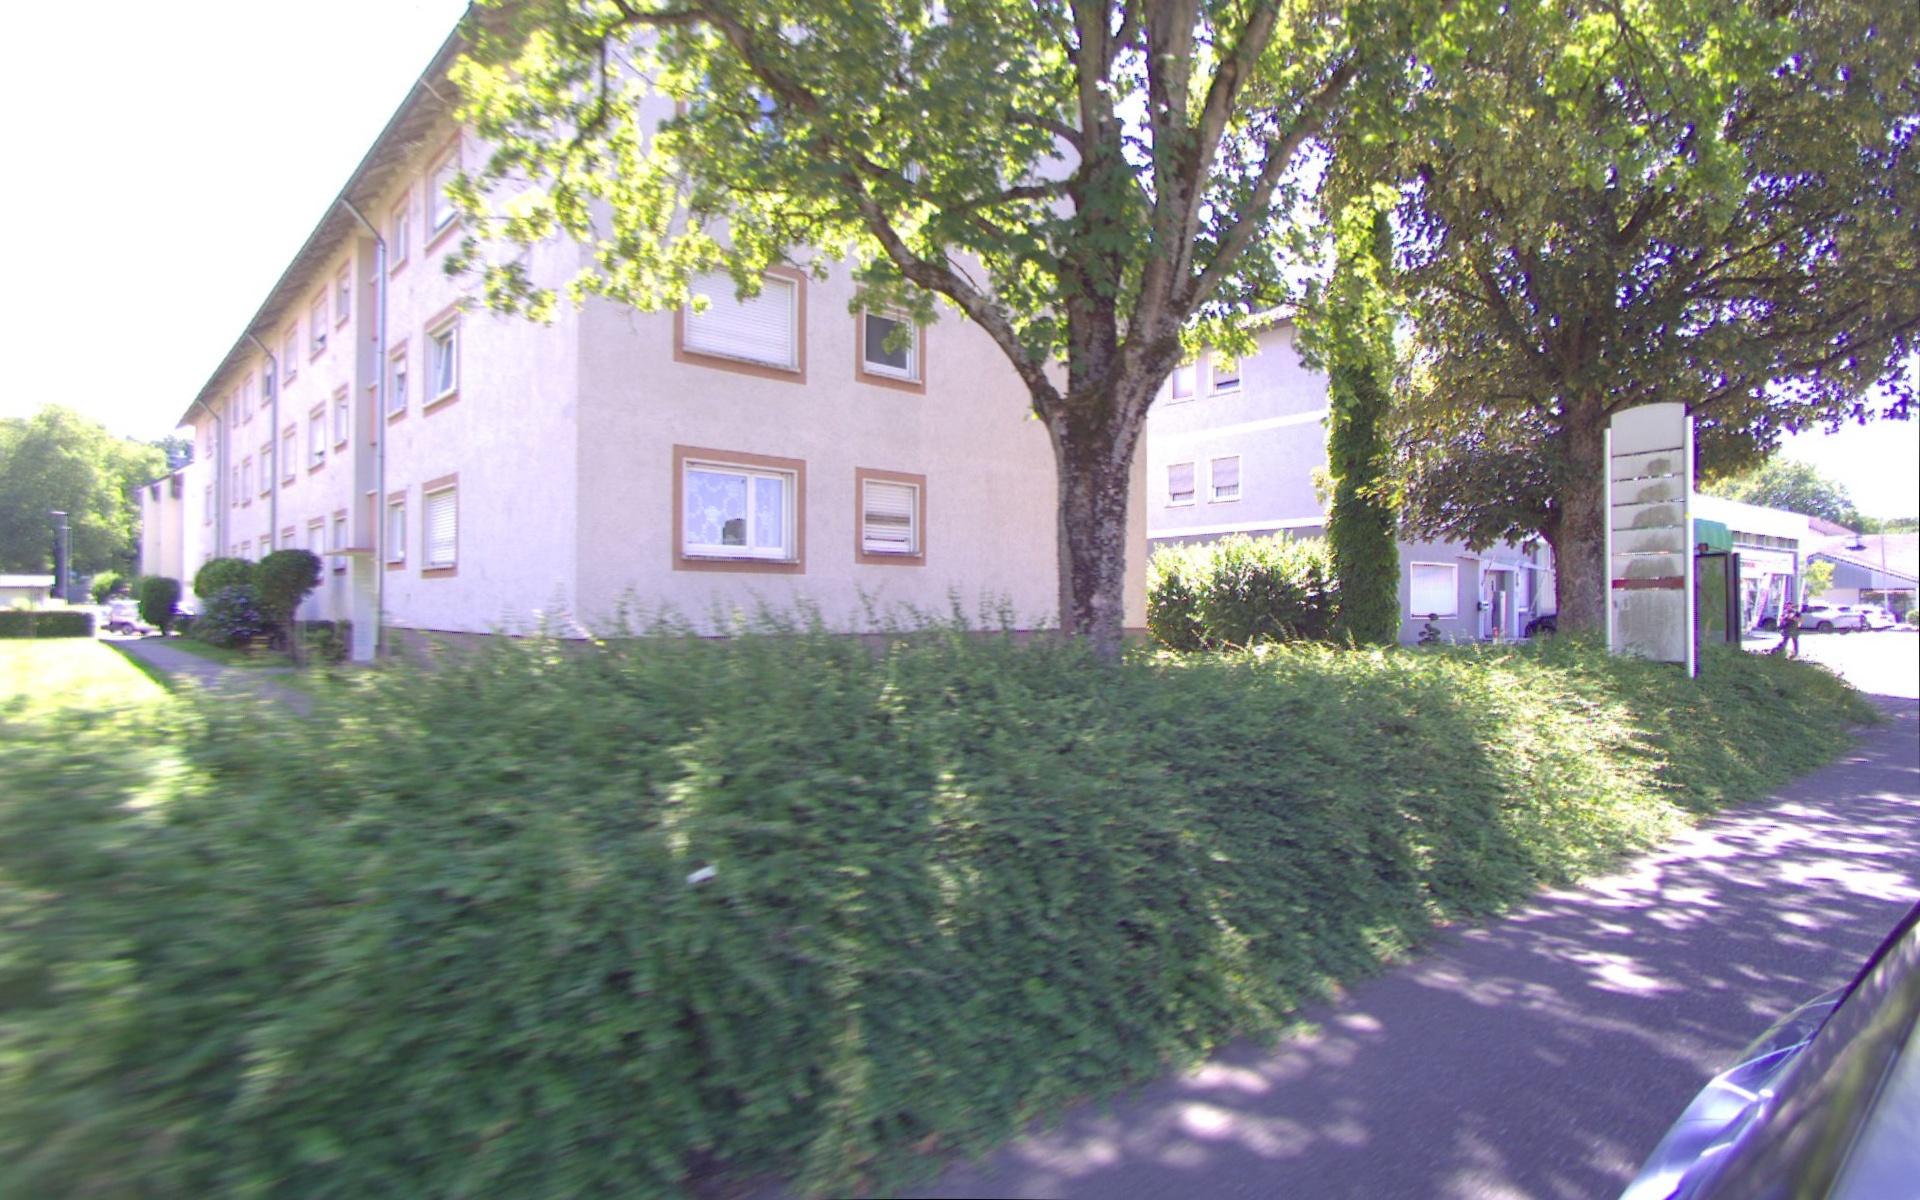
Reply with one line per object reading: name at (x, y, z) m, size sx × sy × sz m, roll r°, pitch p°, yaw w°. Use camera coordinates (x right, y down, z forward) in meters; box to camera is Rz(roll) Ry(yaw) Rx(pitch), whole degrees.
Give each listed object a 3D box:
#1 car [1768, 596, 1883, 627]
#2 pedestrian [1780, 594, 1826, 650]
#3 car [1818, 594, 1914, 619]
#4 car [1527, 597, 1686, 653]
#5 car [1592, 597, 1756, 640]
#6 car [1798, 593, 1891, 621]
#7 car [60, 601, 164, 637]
car at (48.999, 0.609, 57.421) m, size 1.958 × 1.662 × 4.606 m, roll 0°, pitch 1°, yaw -21°
pedestrian at (25.712, 0.655, 30.863) m, size 0.991 × 1.661 × 0.843 m, roll 0°, pitch 1°, yaw -36°
car at (54.994, 0.368, 61.521) m, size 1.768 × 1.479 × 4.007 m, roll 0°, pitch 1°, yaw -24°
car at (20.893, 0.752, 32.823) m, size 1.766 × 1.569 × 3.995 m, roll 0°, pitch 2°, yaw -40°
car at (24.255, 0.583, 34.602) m, size 4.316 × 1.388 × 1.937 m, roll 0°, pitch 0°, yaw 28°
car at (52.899, 0.390, 60.636) m, size 1.643 × 1.552 × 3.875 m, roll 0°, pitch 1°, yaw -22°
car at (-45.928, 1.018, 54.884) m, size 3.874 × 1.846 × 1.957 m, roll 0°, pitch 0°, yaw -12°
